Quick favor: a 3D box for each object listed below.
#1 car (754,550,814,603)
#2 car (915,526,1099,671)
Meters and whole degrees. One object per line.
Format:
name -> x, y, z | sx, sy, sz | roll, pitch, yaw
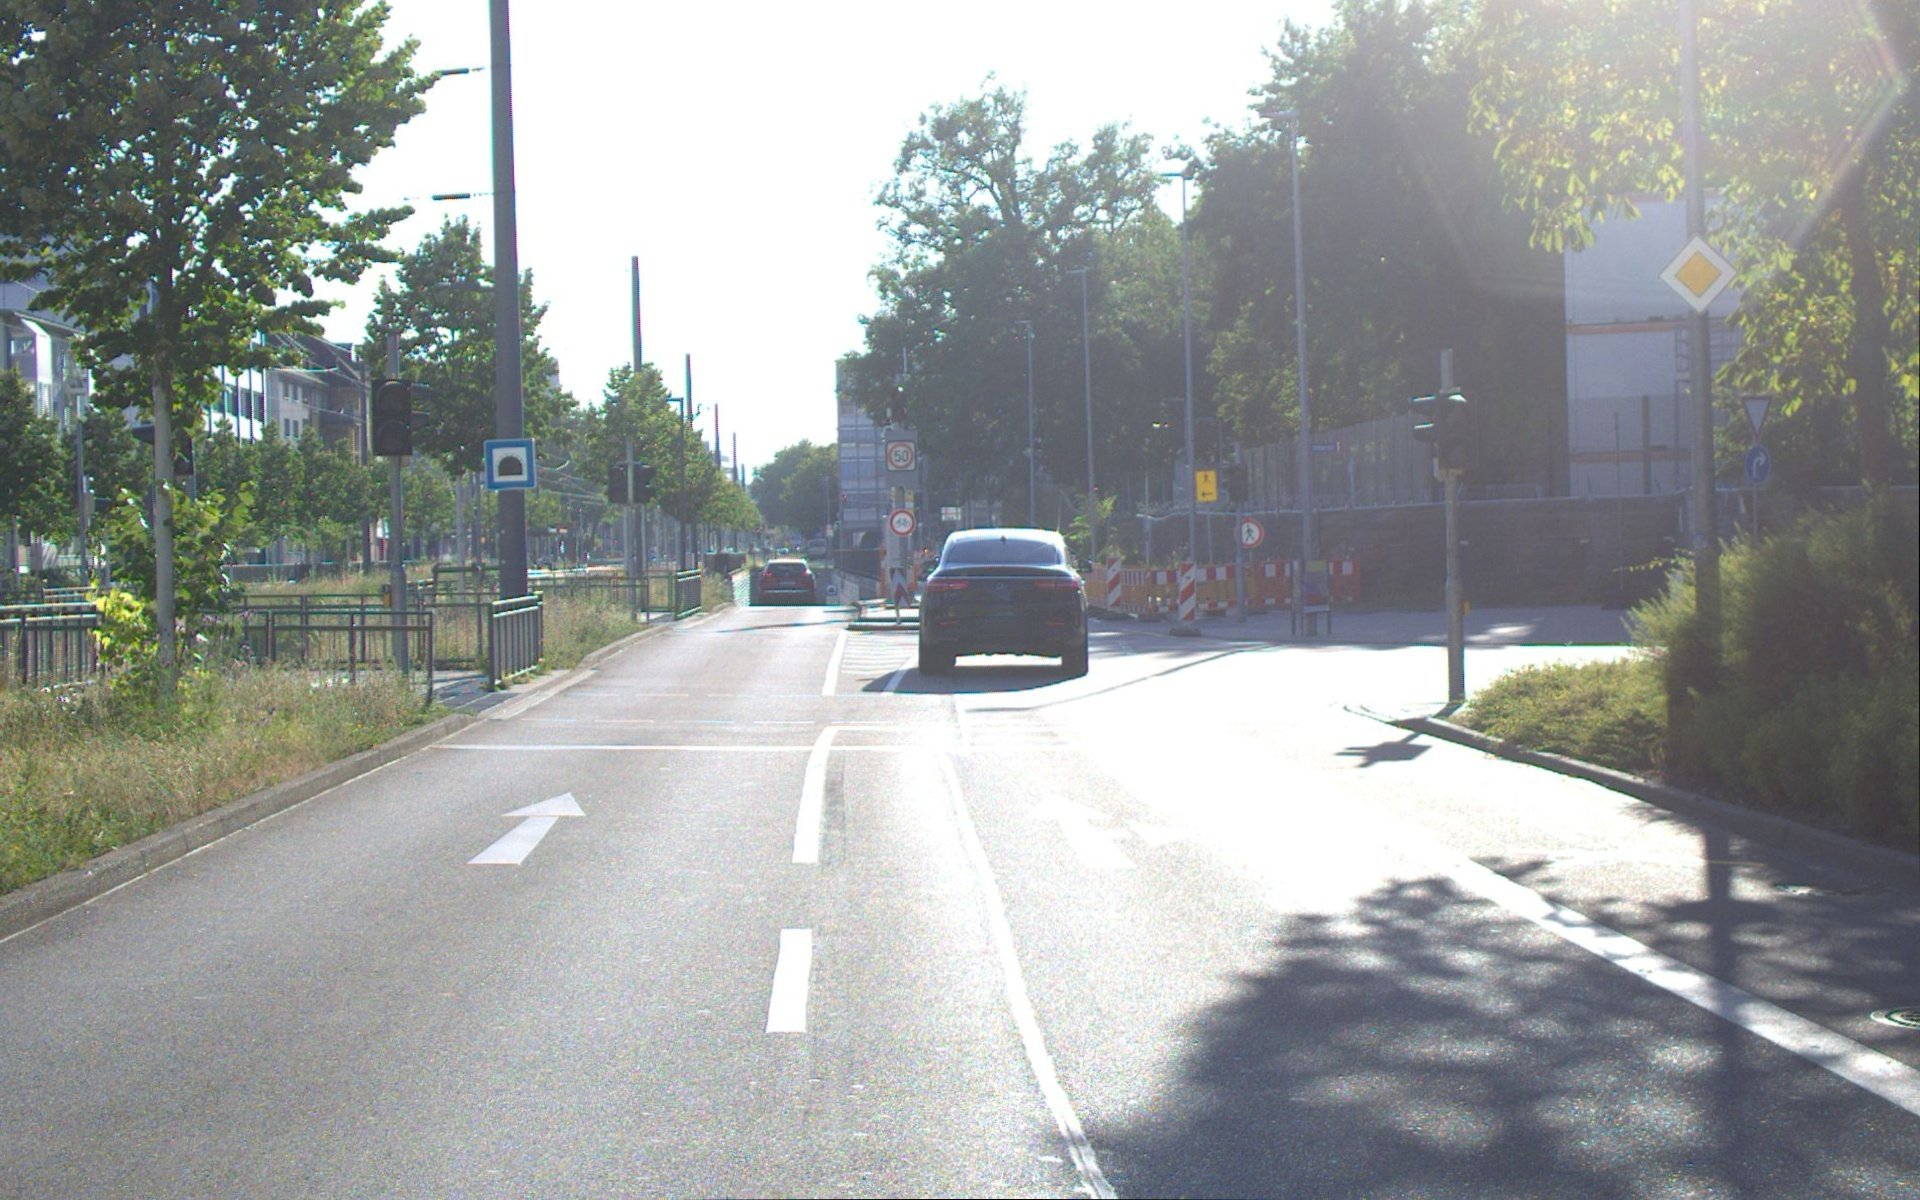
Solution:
car -> -5.617, -0.744, 109.972 | 1.826, 1.653, 4.000 | 1, 0, -2
car -> 0.516, -0.028, 41.669 | 2.005, 1.653, 4.000 | 1, 0, -2
